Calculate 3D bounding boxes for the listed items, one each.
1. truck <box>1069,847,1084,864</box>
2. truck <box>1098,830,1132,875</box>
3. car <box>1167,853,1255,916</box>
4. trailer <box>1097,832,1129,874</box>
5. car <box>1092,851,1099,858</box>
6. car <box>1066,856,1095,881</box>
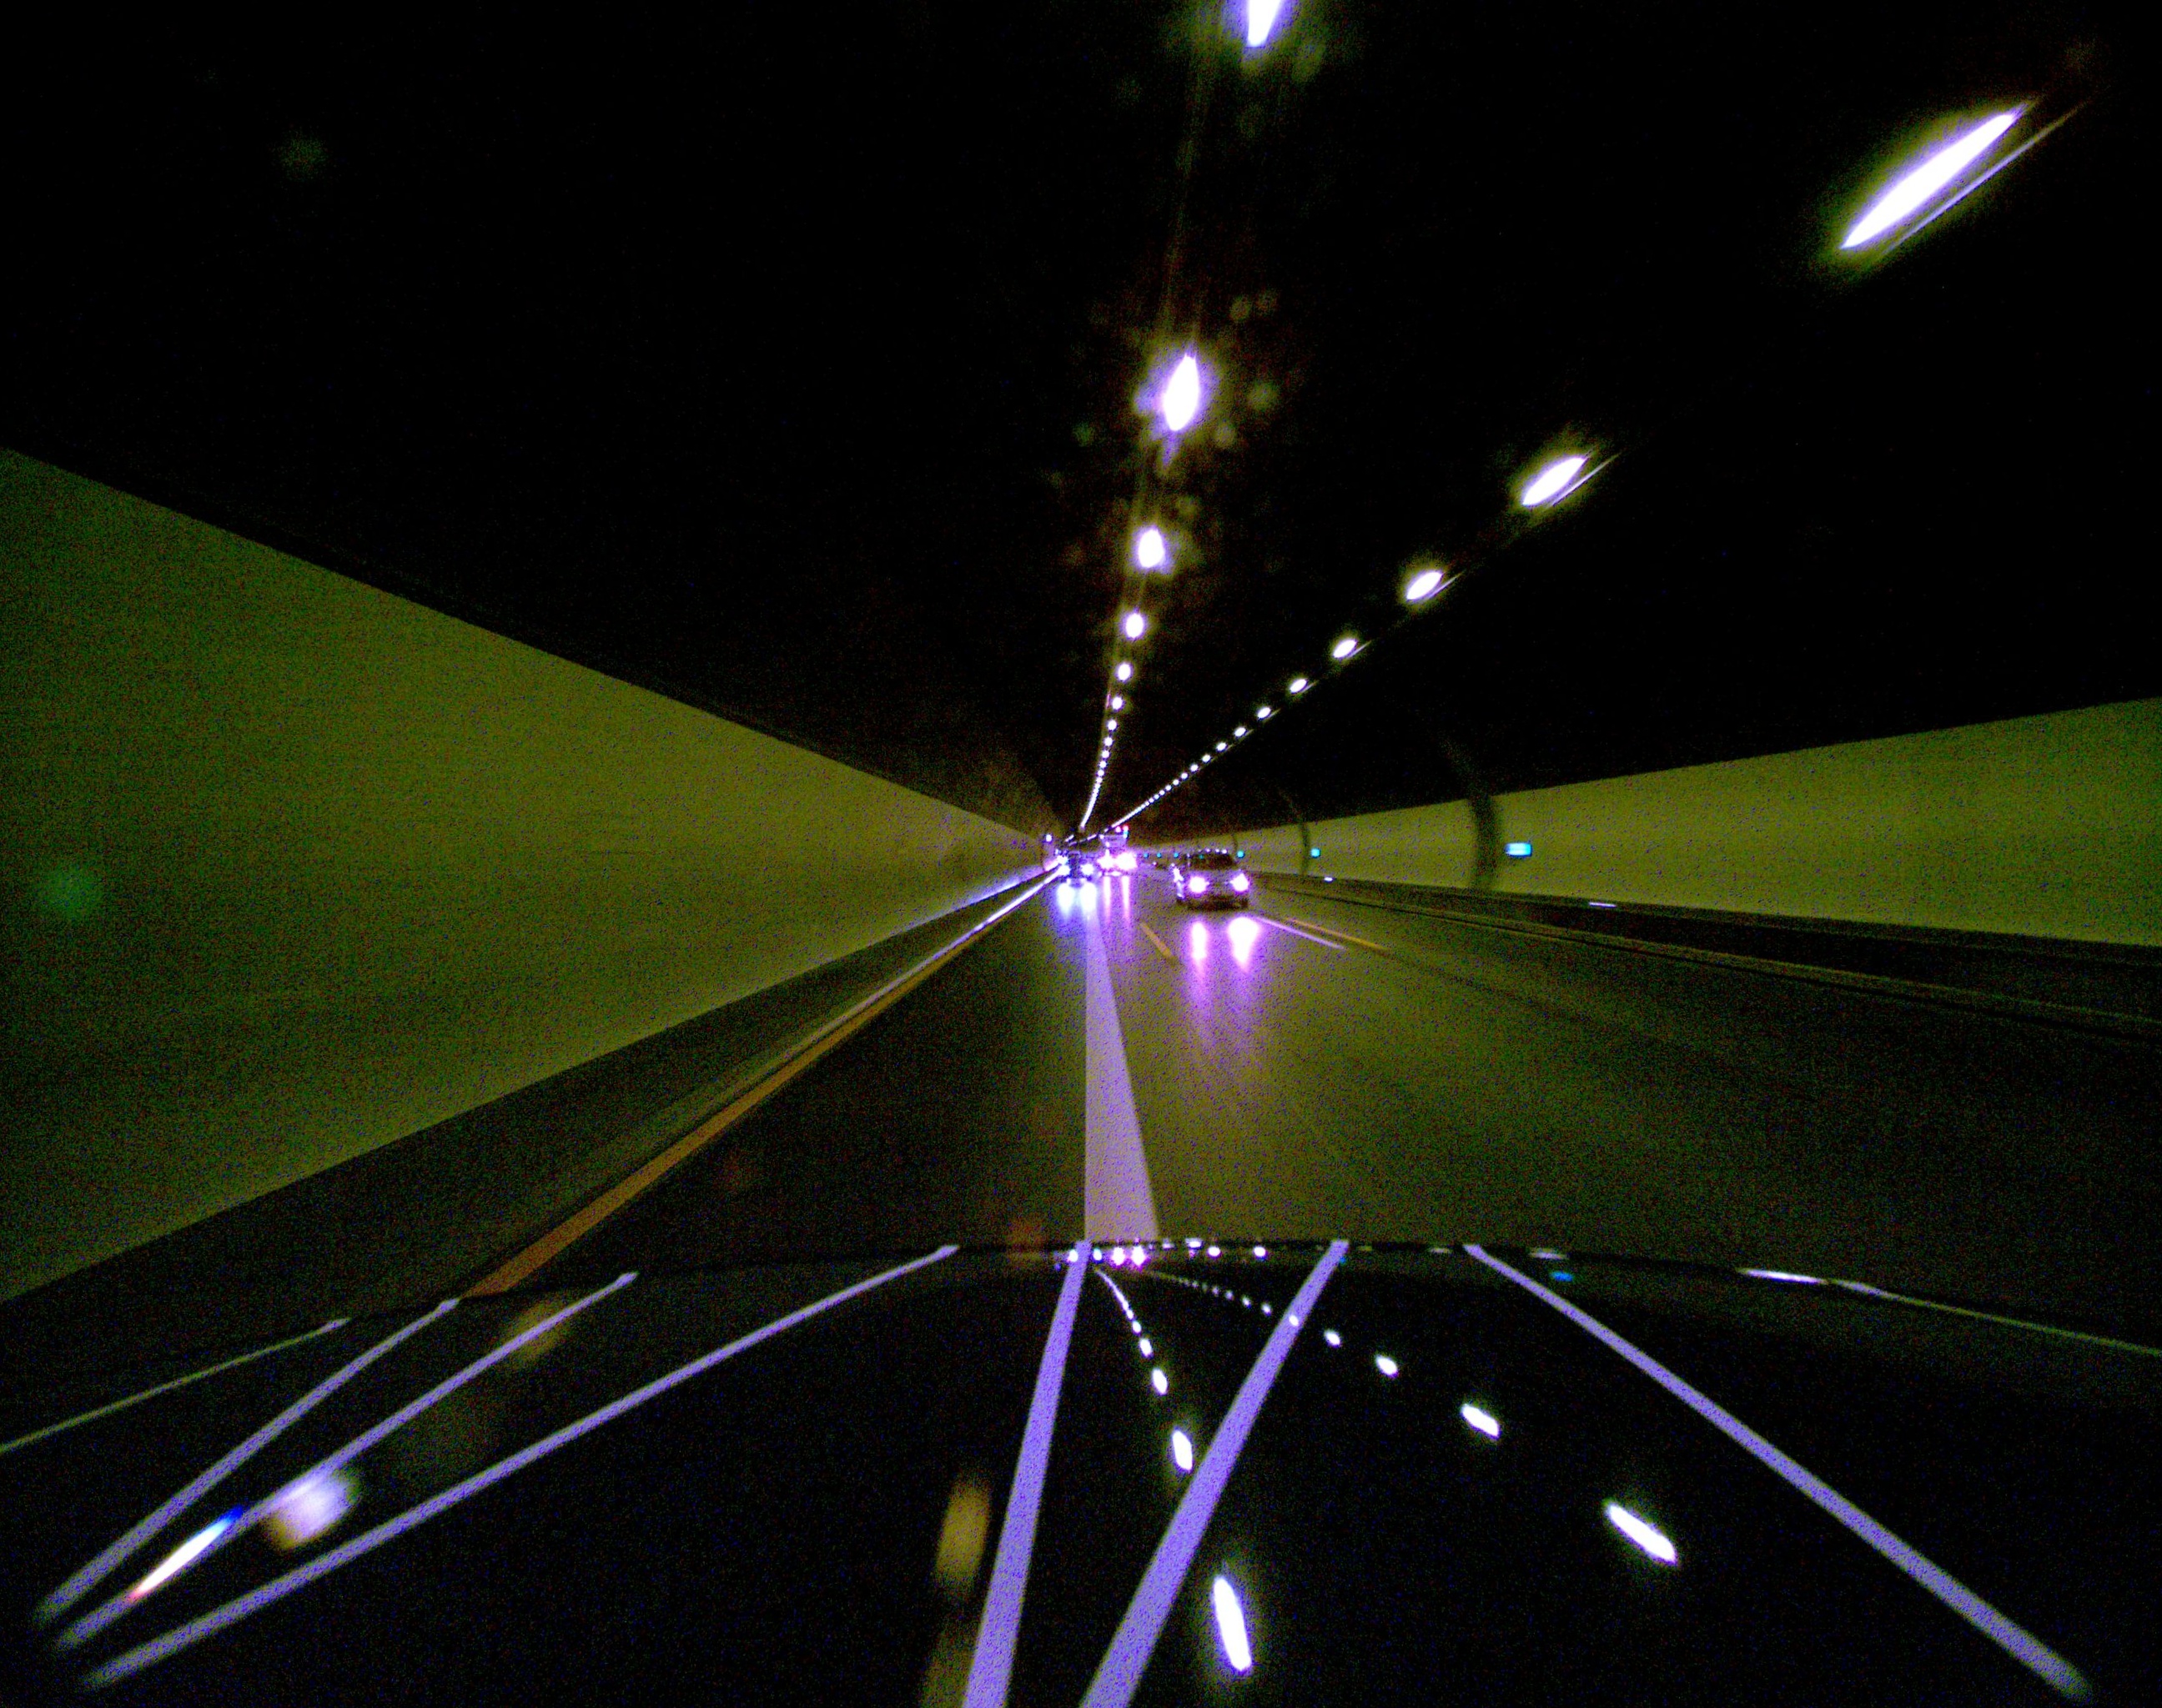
[{"bbox_3d":[-0.864,0.349,128.256,2.151,2.609,9.907,-2,-1,-2],"label":"truck"},{"bbox_3d":[2.696,-0.112,60.785,2.374,3.328,4.719,-4,0,2],"label":"truck"},{"bbox_3d":[3.627,0.795,21.901,1.766,1.563,4.096,-2,1,-1],"label":"car"},{"bbox_3d":[2.722,-0.092,67.469,2.374,3.328,12.078,0,0,1],"label":"trailer"},{"bbox_3d":[4.538,0.072,236.115,1.929,2.002,4.000,-3,0,0],"label":"car"},{"bbox_3d":[-0.032,0.888,48.749,1.728,1.474,4.000,-2,0,0],"label":"car"}]
